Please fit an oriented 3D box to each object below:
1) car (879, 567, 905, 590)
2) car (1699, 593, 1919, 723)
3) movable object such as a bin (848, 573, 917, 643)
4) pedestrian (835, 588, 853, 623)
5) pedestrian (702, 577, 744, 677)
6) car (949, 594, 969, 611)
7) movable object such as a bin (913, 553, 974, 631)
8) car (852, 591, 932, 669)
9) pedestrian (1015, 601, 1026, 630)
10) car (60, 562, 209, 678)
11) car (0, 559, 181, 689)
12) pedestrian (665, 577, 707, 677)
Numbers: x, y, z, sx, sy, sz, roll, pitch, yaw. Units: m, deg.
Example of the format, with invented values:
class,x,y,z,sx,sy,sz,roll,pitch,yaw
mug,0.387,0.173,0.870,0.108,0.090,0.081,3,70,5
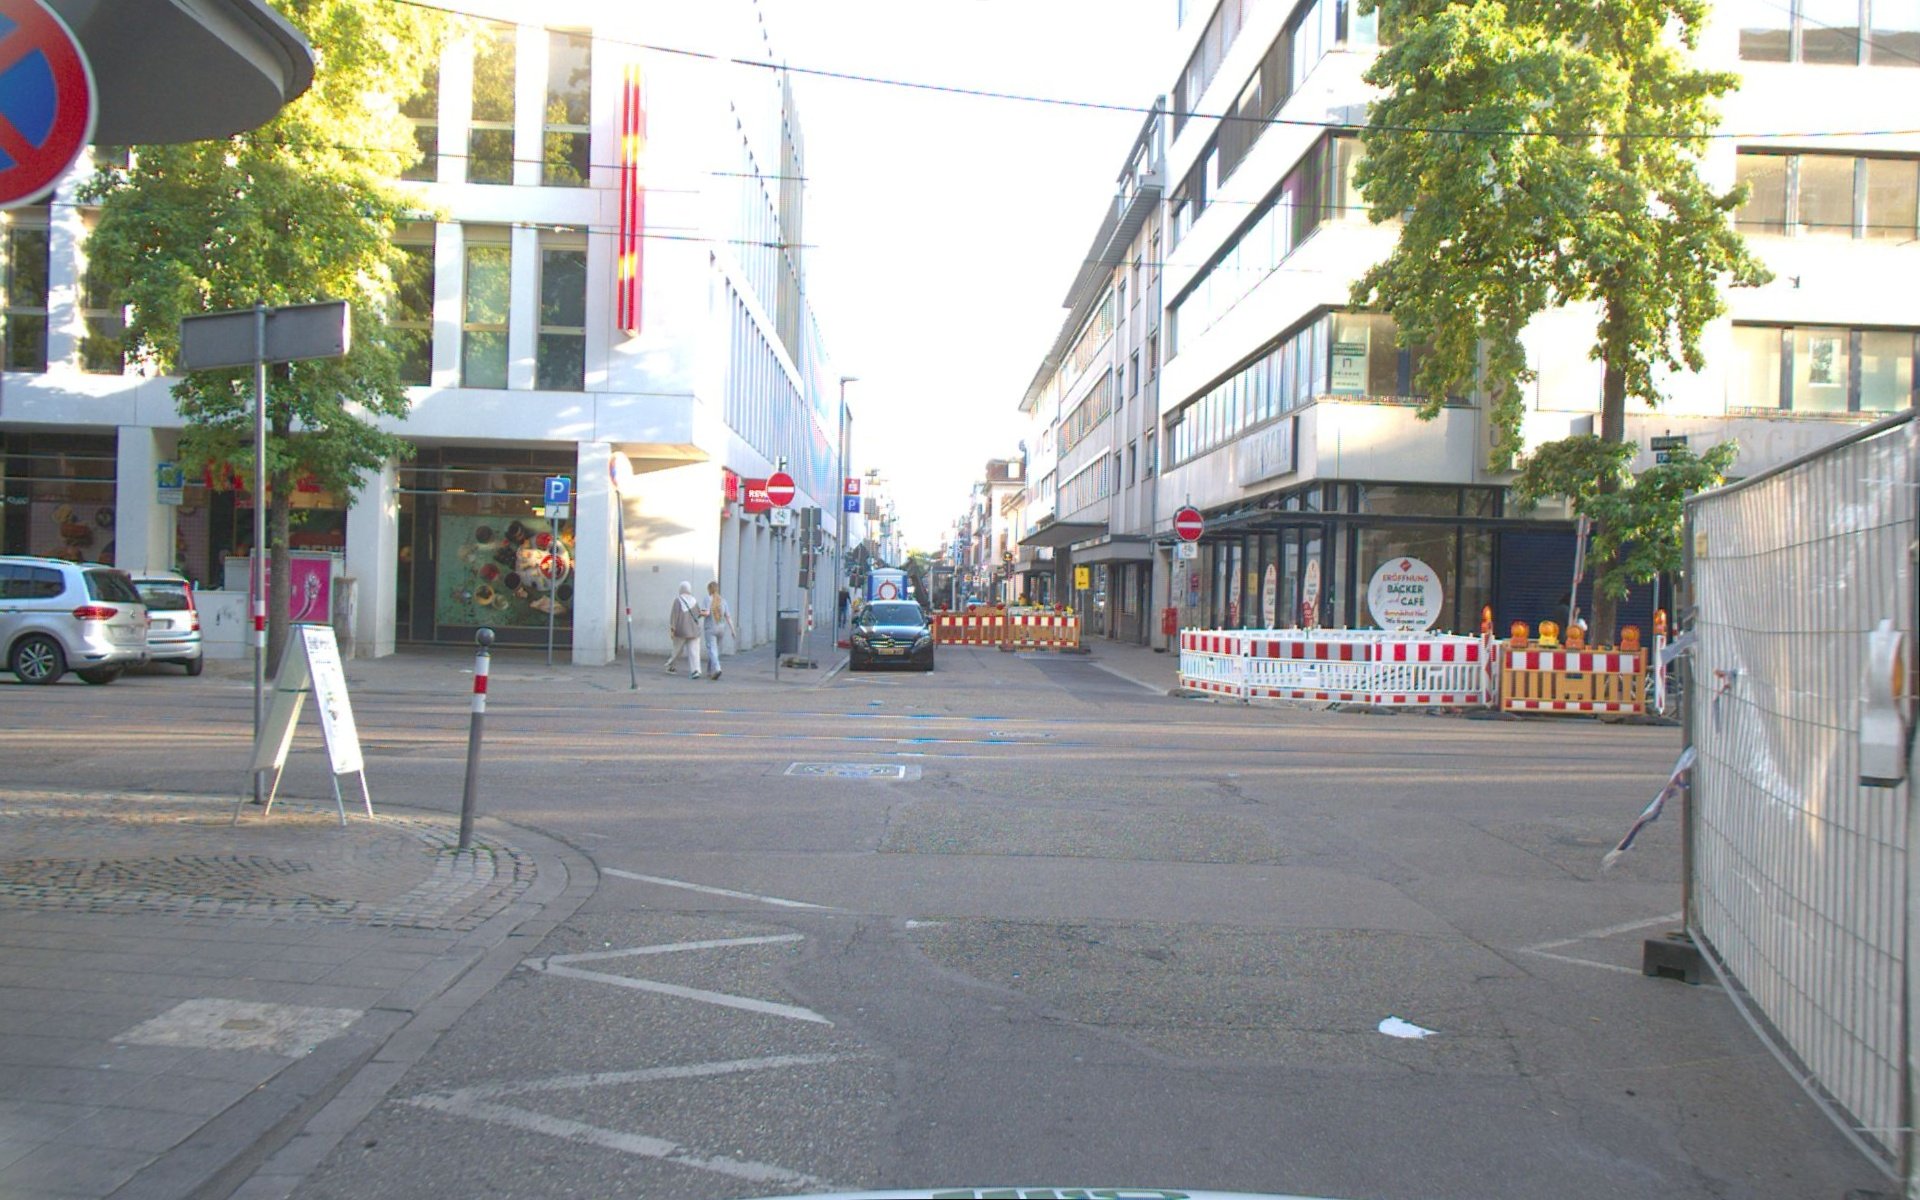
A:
class,x,y,z,sx,sy,sz,roll,pitch,yaw
car,-5.310,-1.686,130.183,1.953,1.808,3.999,0,0,-1
car,14.480,0.918,25.937,4.830,1.806,2.022,2,2,-2
movable object such as a bin,-2.329,0.221,50.733,1.953,2.049,3.999,0,0,-1
pedestrian,-5.009,0.234,71.318,0.701,1.490,0.525,0,0,1
pedestrian,-4.019,0.447,28.022,0.600,1.656,0.869,0,0,-16
car,-0.132,0.251,174.694,1.953,1.808,3.999,0,0,-1
movable object such as a bin,-0.646,-0.297,60.708,2.113,2.710,4.571,1,0,-2
car,-1.495,0.600,35.475,1.597,1.577,3.139,1,0,-5
pedestrian,3.195,0.807,87.455,0.513,1.490,0.719,1,0,6
car,-12.915,0.261,25.831,1.922,1.531,3.962,1,3,-28
car,-12.913,0.299,21.965,4.187,1.621,1.826,2,-2,-5
pedestrian,-4.621,0.442,27.839,0.600,1.656,0.869,0,0,-16
